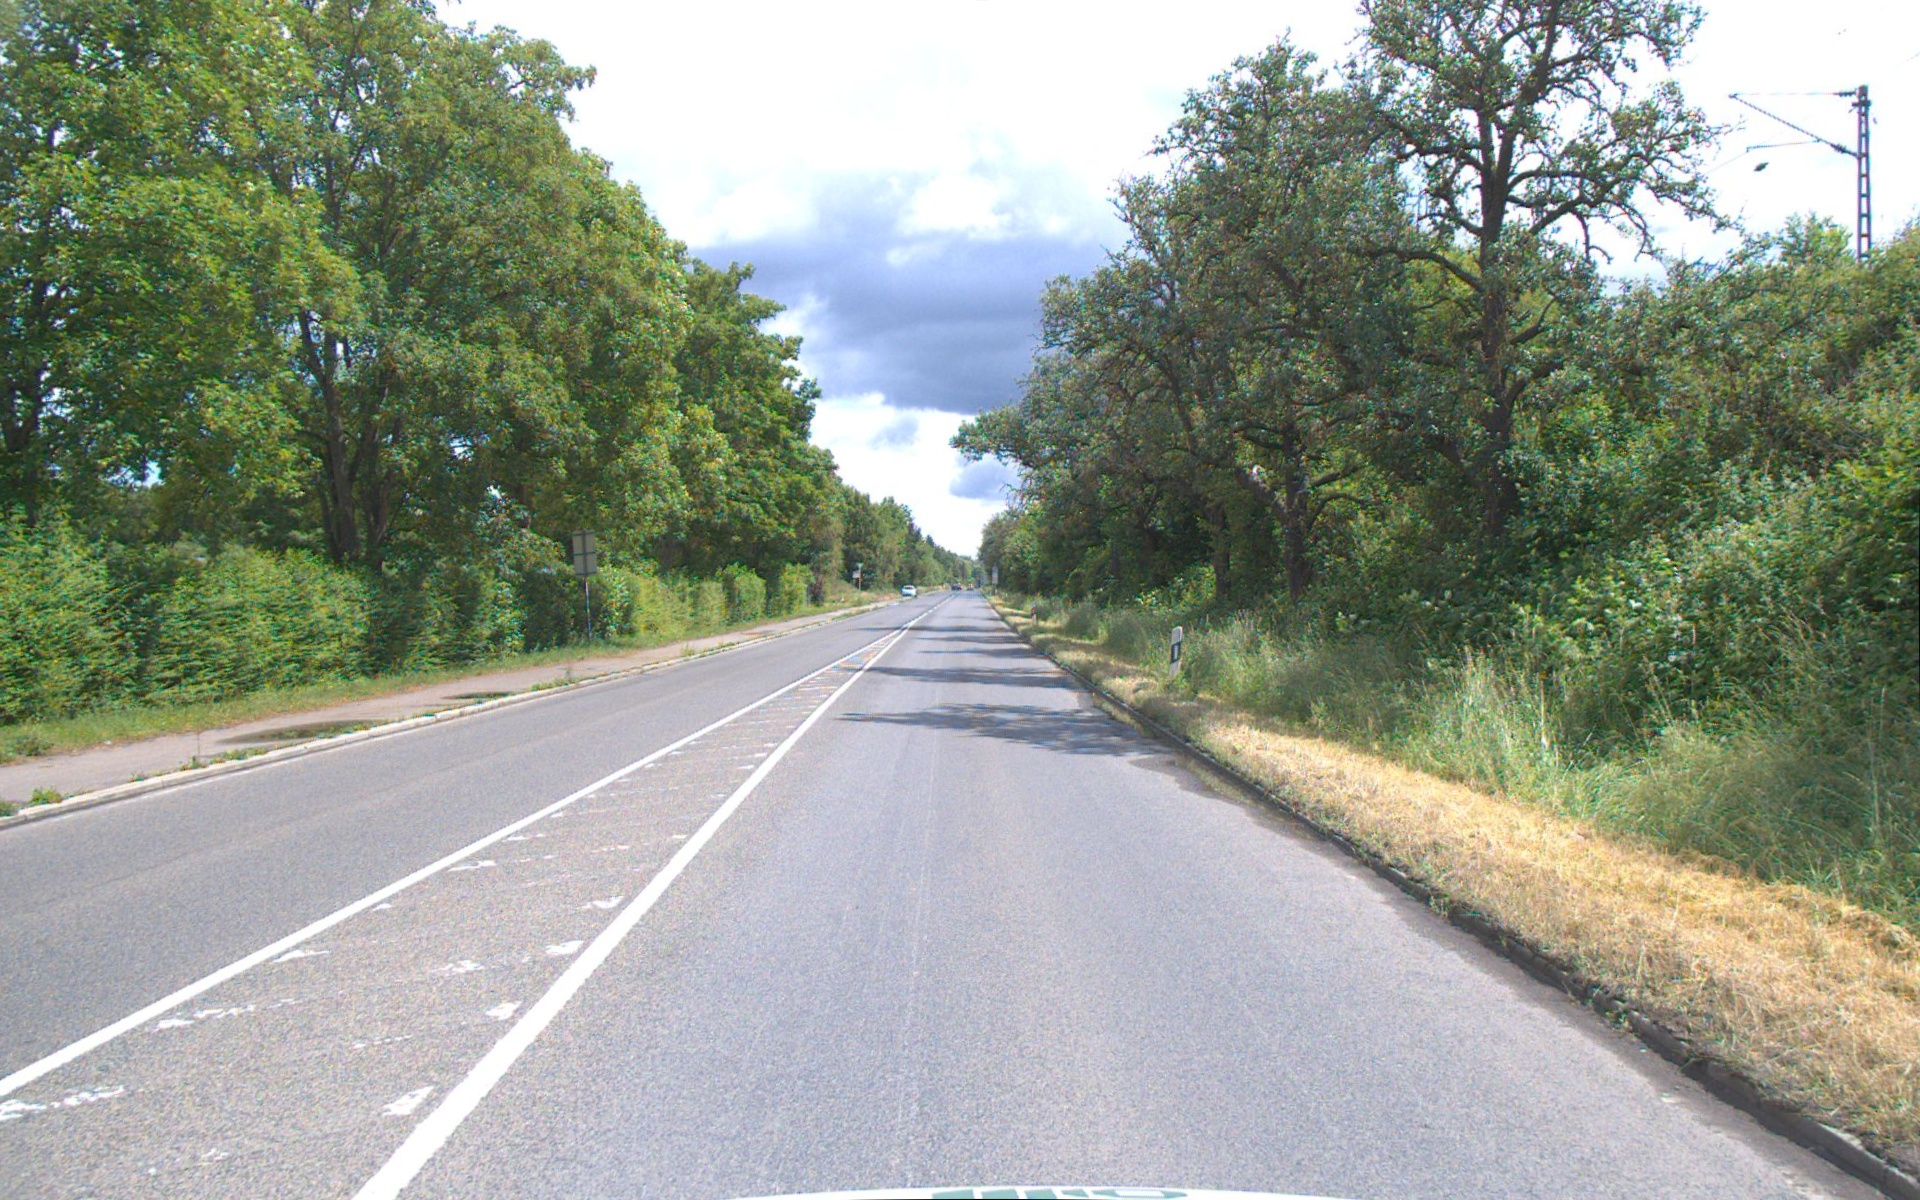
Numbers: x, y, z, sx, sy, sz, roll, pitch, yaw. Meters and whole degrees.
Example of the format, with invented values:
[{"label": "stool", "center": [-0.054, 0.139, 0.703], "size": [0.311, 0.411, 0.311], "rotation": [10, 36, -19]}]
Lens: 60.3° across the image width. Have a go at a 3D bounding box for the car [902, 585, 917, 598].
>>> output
[{"label": "car", "center": [-6.688, -1.111, 217.787], "size": [1.761, 1.570, 3.955], "rotation": [-1, -1, 1]}]
